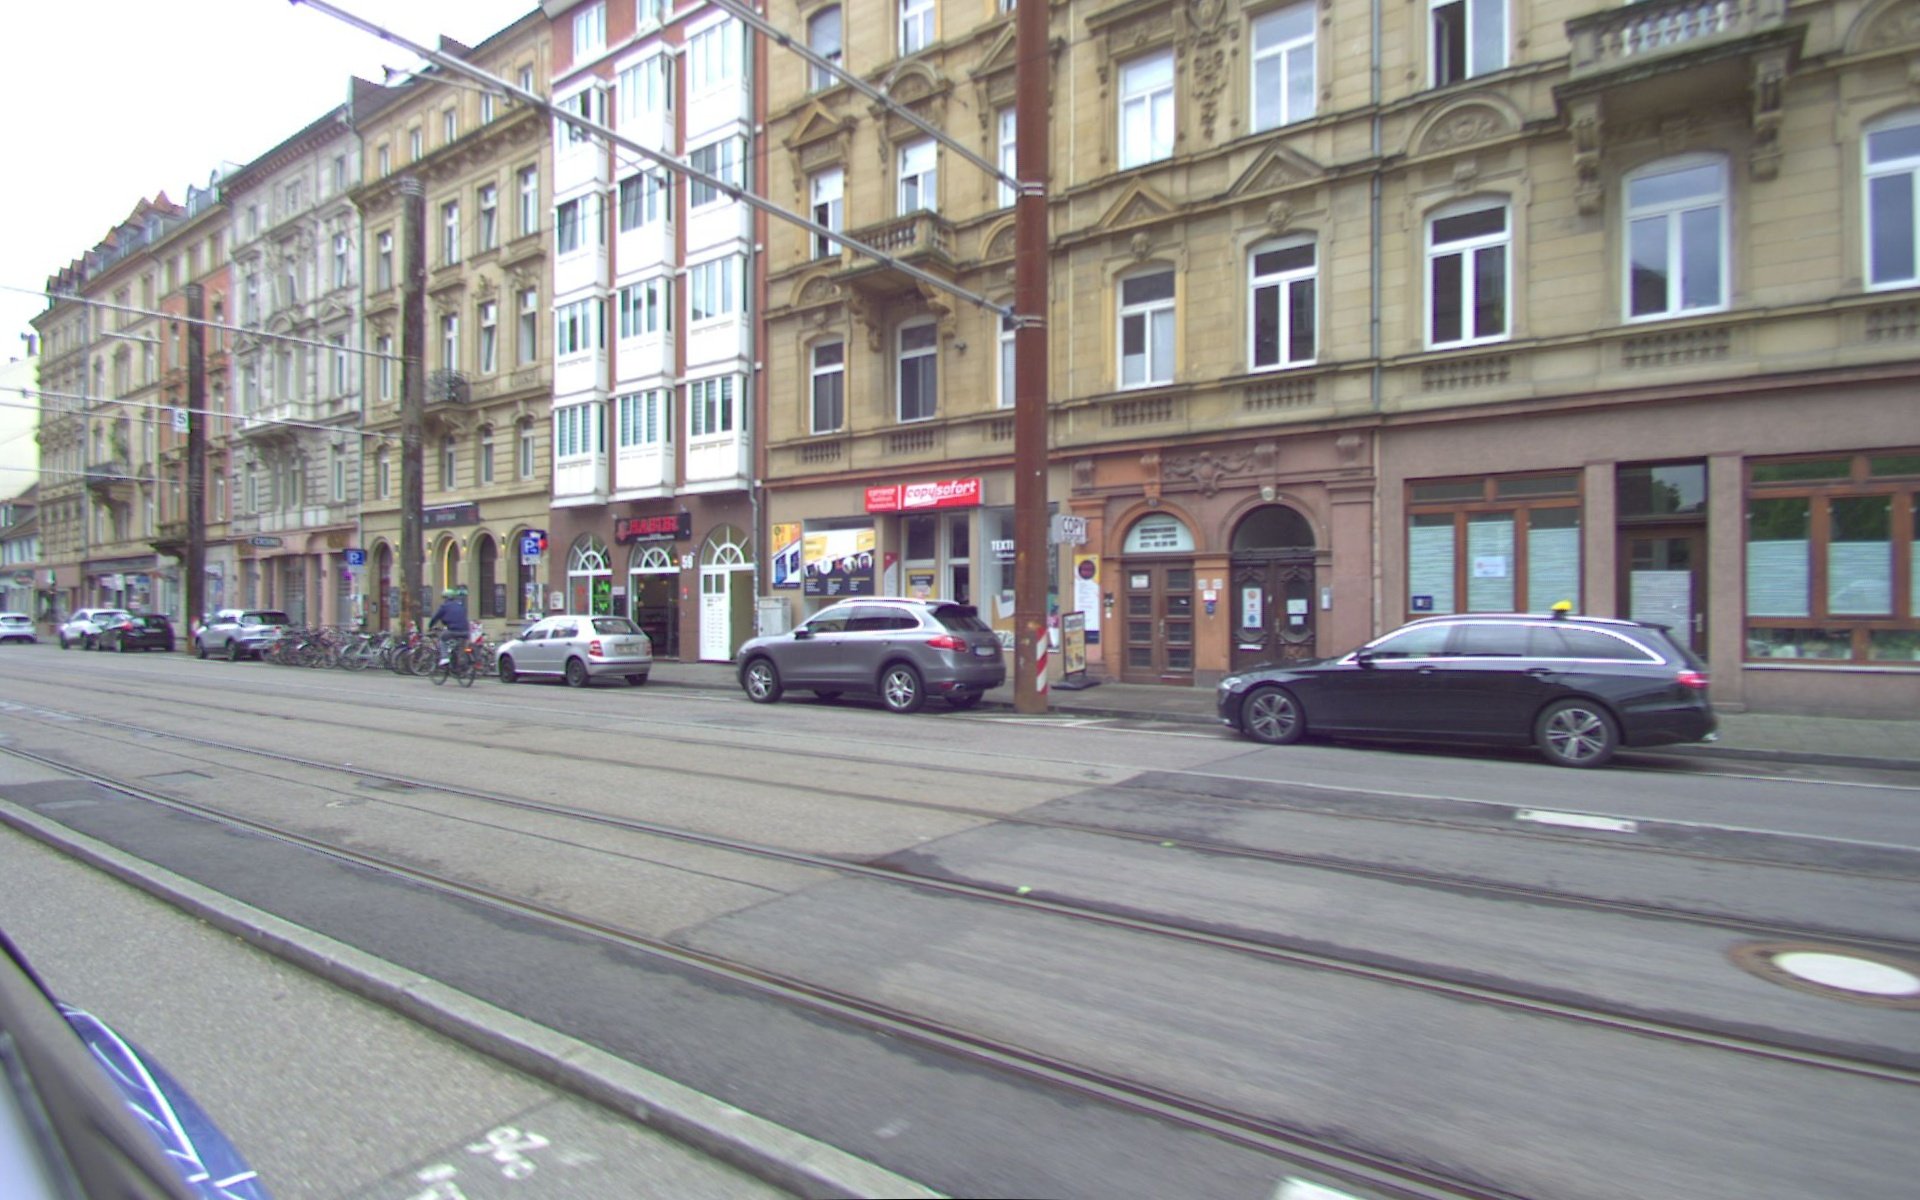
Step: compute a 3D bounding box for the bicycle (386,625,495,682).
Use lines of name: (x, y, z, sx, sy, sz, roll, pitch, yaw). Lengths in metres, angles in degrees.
bicycle: (-12.589, 1.291, 24.598, 0.665, 1.339, 2.262, -1, -3, 35)

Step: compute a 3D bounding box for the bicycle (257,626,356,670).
bicycle: (-18.778, 1.370, 29.141, 0.703, 1.212, 2.262, -1, -3, 35)

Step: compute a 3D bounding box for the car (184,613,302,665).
car: (-22.679, 1.198, 31.966, 4.215, 1.545, 1.728, -1, -2, 35)

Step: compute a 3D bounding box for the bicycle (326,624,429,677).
bicycle: (-15.441, 1.328, 26.878, 0.665, 1.339, 2.262, -1, -3, 35)

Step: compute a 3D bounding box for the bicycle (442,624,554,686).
bicycle: (-10.479, 1.240, 23.034, 0.665, 1.339, 2.262, -1, -3, 35)

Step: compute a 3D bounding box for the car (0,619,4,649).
car: (-50.428, 1.735, 51.464, 4.535, 1.533, 1.808, -1, -2, 36)

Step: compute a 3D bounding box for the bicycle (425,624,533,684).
bicycle: (-11.090, 1.241, 23.418, 0.520, 1.339, 2.262, -1, -3, 35)

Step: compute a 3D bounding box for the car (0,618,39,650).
car: (-46.416, 1.631, 49.066, 4.037, 1.476, 1.728, -1, -2, 35)

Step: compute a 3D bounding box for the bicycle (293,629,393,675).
bicycle: (-17.039, 1.424, 28.016, 0.665, 1.212, 2.262, -1, -3, 35)

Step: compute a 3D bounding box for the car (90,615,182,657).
car: (-30.922, 1.341, 37.953, 3.913, 1.500, 1.728, -1, -2, 36)

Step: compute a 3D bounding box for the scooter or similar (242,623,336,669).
scooter or similar: (-19.827, 1.336, 29.941, 0.546, 1.212, 2.262, -1, 0, 35)

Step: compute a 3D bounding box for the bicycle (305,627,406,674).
bicycle: (-16.459, 1.378, 27.603, 0.665, 1.212, 2.262, -1, -3, 35)

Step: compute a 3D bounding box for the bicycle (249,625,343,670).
bicycle: (-19.344, 1.363, 29.526, 0.546, 1.212, 2.262, -1, 0, 35)

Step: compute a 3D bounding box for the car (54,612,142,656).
car: (-34.615, 1.358, 40.599, 4.037, 1.685, 1.728, -1, -2, 35)

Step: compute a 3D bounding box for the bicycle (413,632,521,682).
bicycle: (-11.528, 1.308, 23.760, 0.618, 1.049, 2.262, -1, 0, 35)

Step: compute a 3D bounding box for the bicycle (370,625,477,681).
bicycle: (-13.253, 1.306, 25.091, 0.665, 1.339, 2.262, -1, -3, 35)

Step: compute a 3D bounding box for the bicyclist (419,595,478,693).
bicyclist: (-10.154, 0.853, 20.095, 1.027, 1.897, 0.639, 0, 0, 37)

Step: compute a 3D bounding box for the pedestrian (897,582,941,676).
pedestrian: (-0.818, 0.559, 20.000, 0.643, 1.795, 0.788, -1, 0, -18)

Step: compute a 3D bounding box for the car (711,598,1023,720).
car: (-1.597, 0.883, 16.369, 5.016, 1.702, 1.799, -1, -2, 33)

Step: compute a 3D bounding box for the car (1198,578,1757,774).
car: (5.348, 0.717, 11.006, 5.039, 1.702, 1.903, 0, -3, 34)

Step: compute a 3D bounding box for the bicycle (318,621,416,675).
bicycle: (-15.909, 1.270, 27.233, 0.447, 1.304, 2.262, -1, 1, 35)

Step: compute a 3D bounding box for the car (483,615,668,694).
car: (-8.099, 1.089, 21.216, 3.911, 1.500, 1.729, -1, -2, 35)

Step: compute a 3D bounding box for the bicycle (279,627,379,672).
bicycle: (-17.692, 1.380, 28.434, 0.703, 1.212, 2.262, -1, -3, 35)

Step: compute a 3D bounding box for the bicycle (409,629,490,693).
bicycle: (-10.159, 1.194, 20.109, 2.041, 1.183, 0.579, 0, -2, 37)

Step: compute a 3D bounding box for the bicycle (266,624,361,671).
bicycle: (-18.414, 1.334, 28.877, 0.539, 1.212, 2.262, 1, 1, 35)
